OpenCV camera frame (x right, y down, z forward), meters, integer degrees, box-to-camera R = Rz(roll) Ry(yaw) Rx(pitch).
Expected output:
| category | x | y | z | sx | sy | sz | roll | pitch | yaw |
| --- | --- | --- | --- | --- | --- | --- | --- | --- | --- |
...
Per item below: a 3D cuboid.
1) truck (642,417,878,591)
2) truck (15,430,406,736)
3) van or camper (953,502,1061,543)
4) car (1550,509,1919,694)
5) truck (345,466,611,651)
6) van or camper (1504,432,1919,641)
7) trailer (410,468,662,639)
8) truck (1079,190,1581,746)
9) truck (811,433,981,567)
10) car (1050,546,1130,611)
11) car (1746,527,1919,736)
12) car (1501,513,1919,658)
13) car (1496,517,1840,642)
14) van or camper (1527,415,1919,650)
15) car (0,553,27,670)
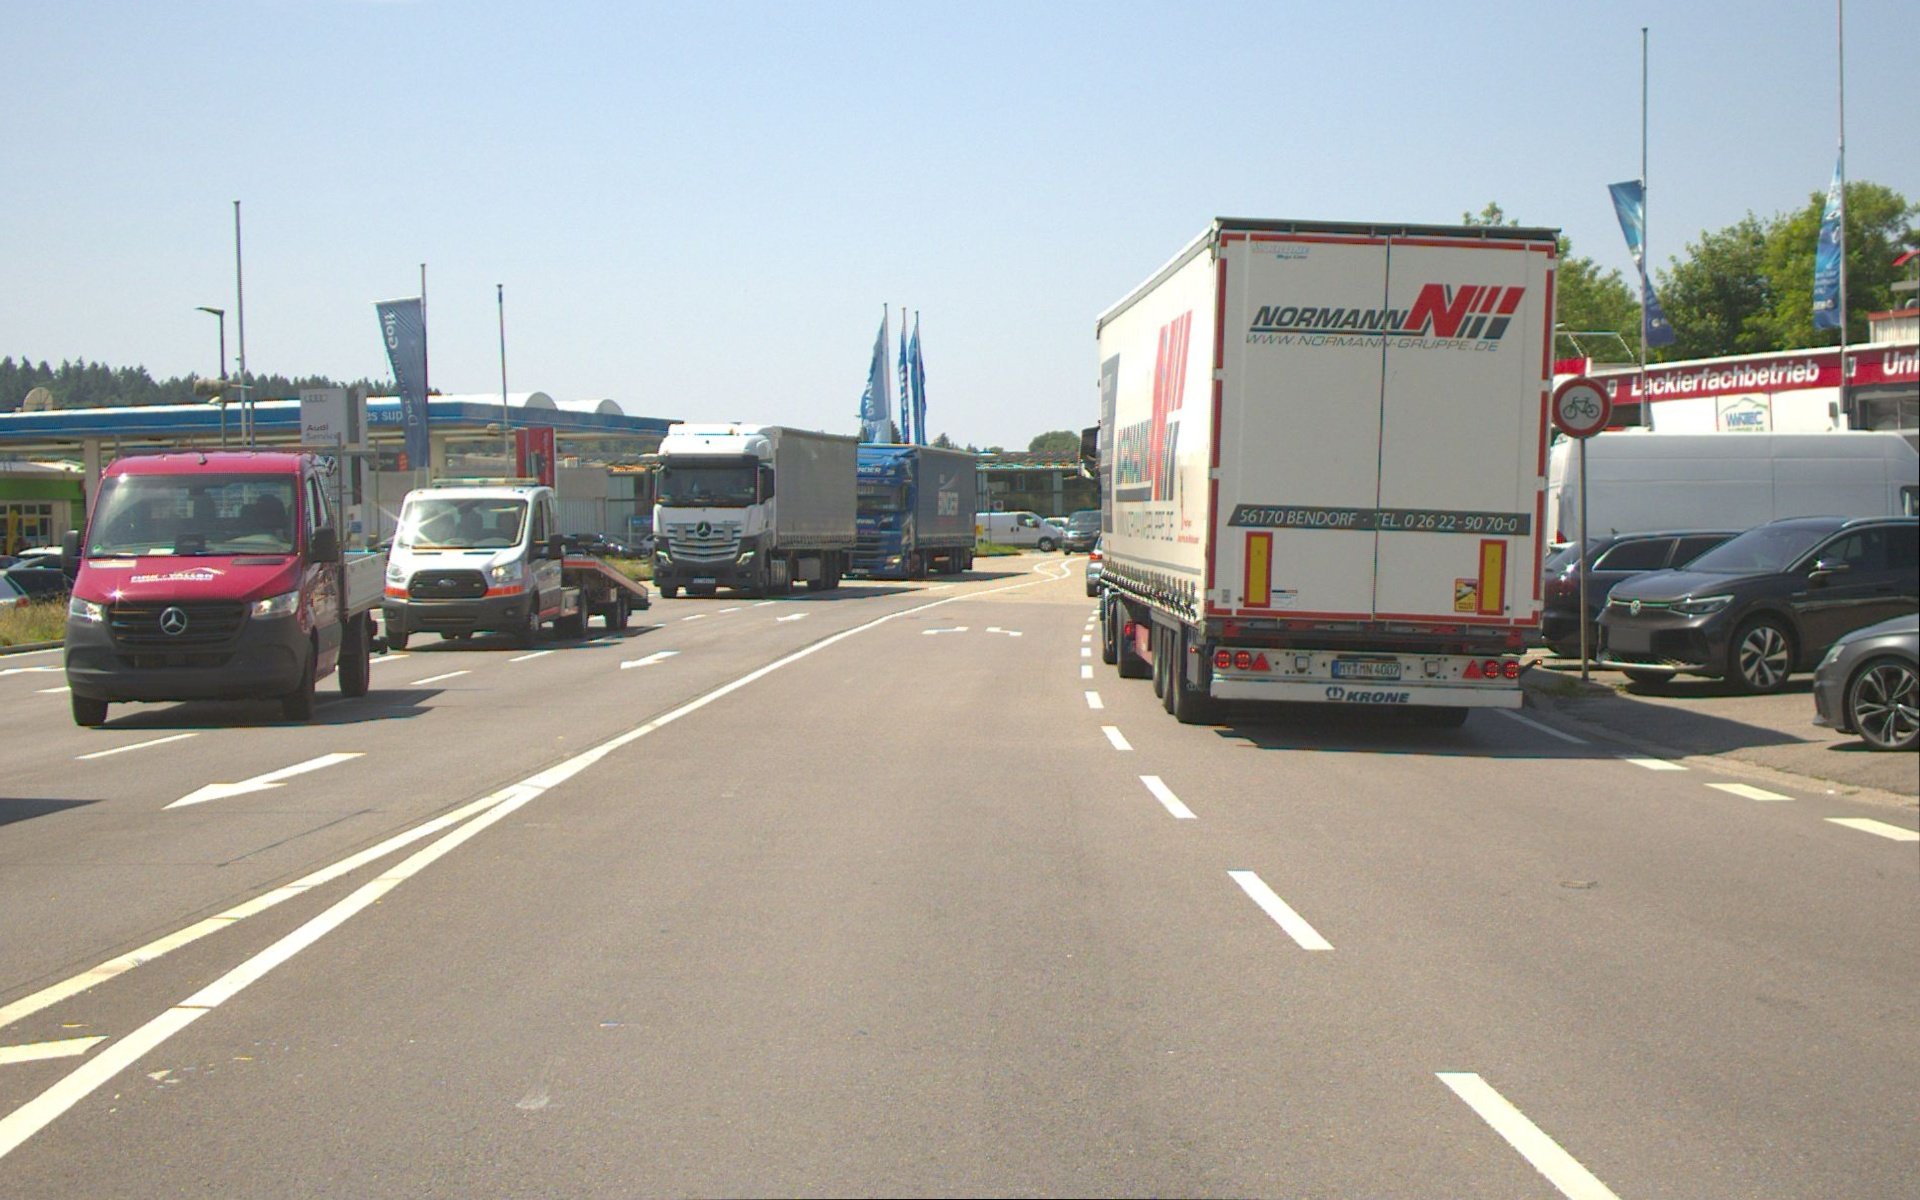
| category | x | y | z | sx | sy | sz | roll | pitch | yaw |
| --- | --- | --- | --- | --- | --- | --- | --- | --- | --- |
| truck | -4.659 | -2.289 | 84.924 | 2.791 | 3.875 | 16.478 | 1 | 1 | 7 |
| truck | -6.554 | -0.198 | 30.975 | 2.396 | 2.436 | 6.873 | 0 | 1 | -3 |
| van or camper | 2.226 | -3.687 | 163.148 | 4.849 | 1.898 | 1.903 | 1 | 1 | 10 |
| car | 8.114 | -0.030 | 33.235 | 4.325 | 1.619 | 2.062 | -2 | 1 | -26 |
| truck | -6.611 | -0.621 | 47.903 | 2.425 | 2.332 | 5.674 | -2 | 1 | 4 |
| van or camper | 10.232 | -0.864 | 46.509 | 5.476 | 2.720 | 2.232 | 0 | 1 | 4 |
| trailer | -6.312 | -0.741 | 52.184 | 2.428 | 2.330 | 6.896 | -2 | 1 | 4 |
| truck | 3.031 | -1.183 | 34.197 | 2.973 | 4.079 | 17.636 | 0 | 1 | 0 |
| truck | -1.803 | -3.042 | 107.894 | 2.845 | 3.875 | 17.001 | 1 | 1 | 7 |
| car | 3.280 | -0.567 | 87.116 | 1.923 | 1.604 | 4.095 | 0 | 1 | 1 |
| car | 7.893 | 0.116 | 22.798 | 1.923 | 1.382 | 4.932 | -3 | 0 | -43 |
| car | 8.083 | -0.175 | 36.512 | 4.325 | 1.494 | 2.082 | 0 | 1 | -1 |
| car | 8.628 | -0.271 | 42.109 | 3.808 | 1.494 | 1.854 | 0 | 1 | 0 |
| van or camper | 10.114 | -0.872 | 44.175 | 5.369 | 2.895 | 2.232 | 0 | 1 | 4 |
| car | -16.247 | 0.211 | 51.854 | 3.855 | 1.744 | 1.801 | -2 | 2 | -27 |
